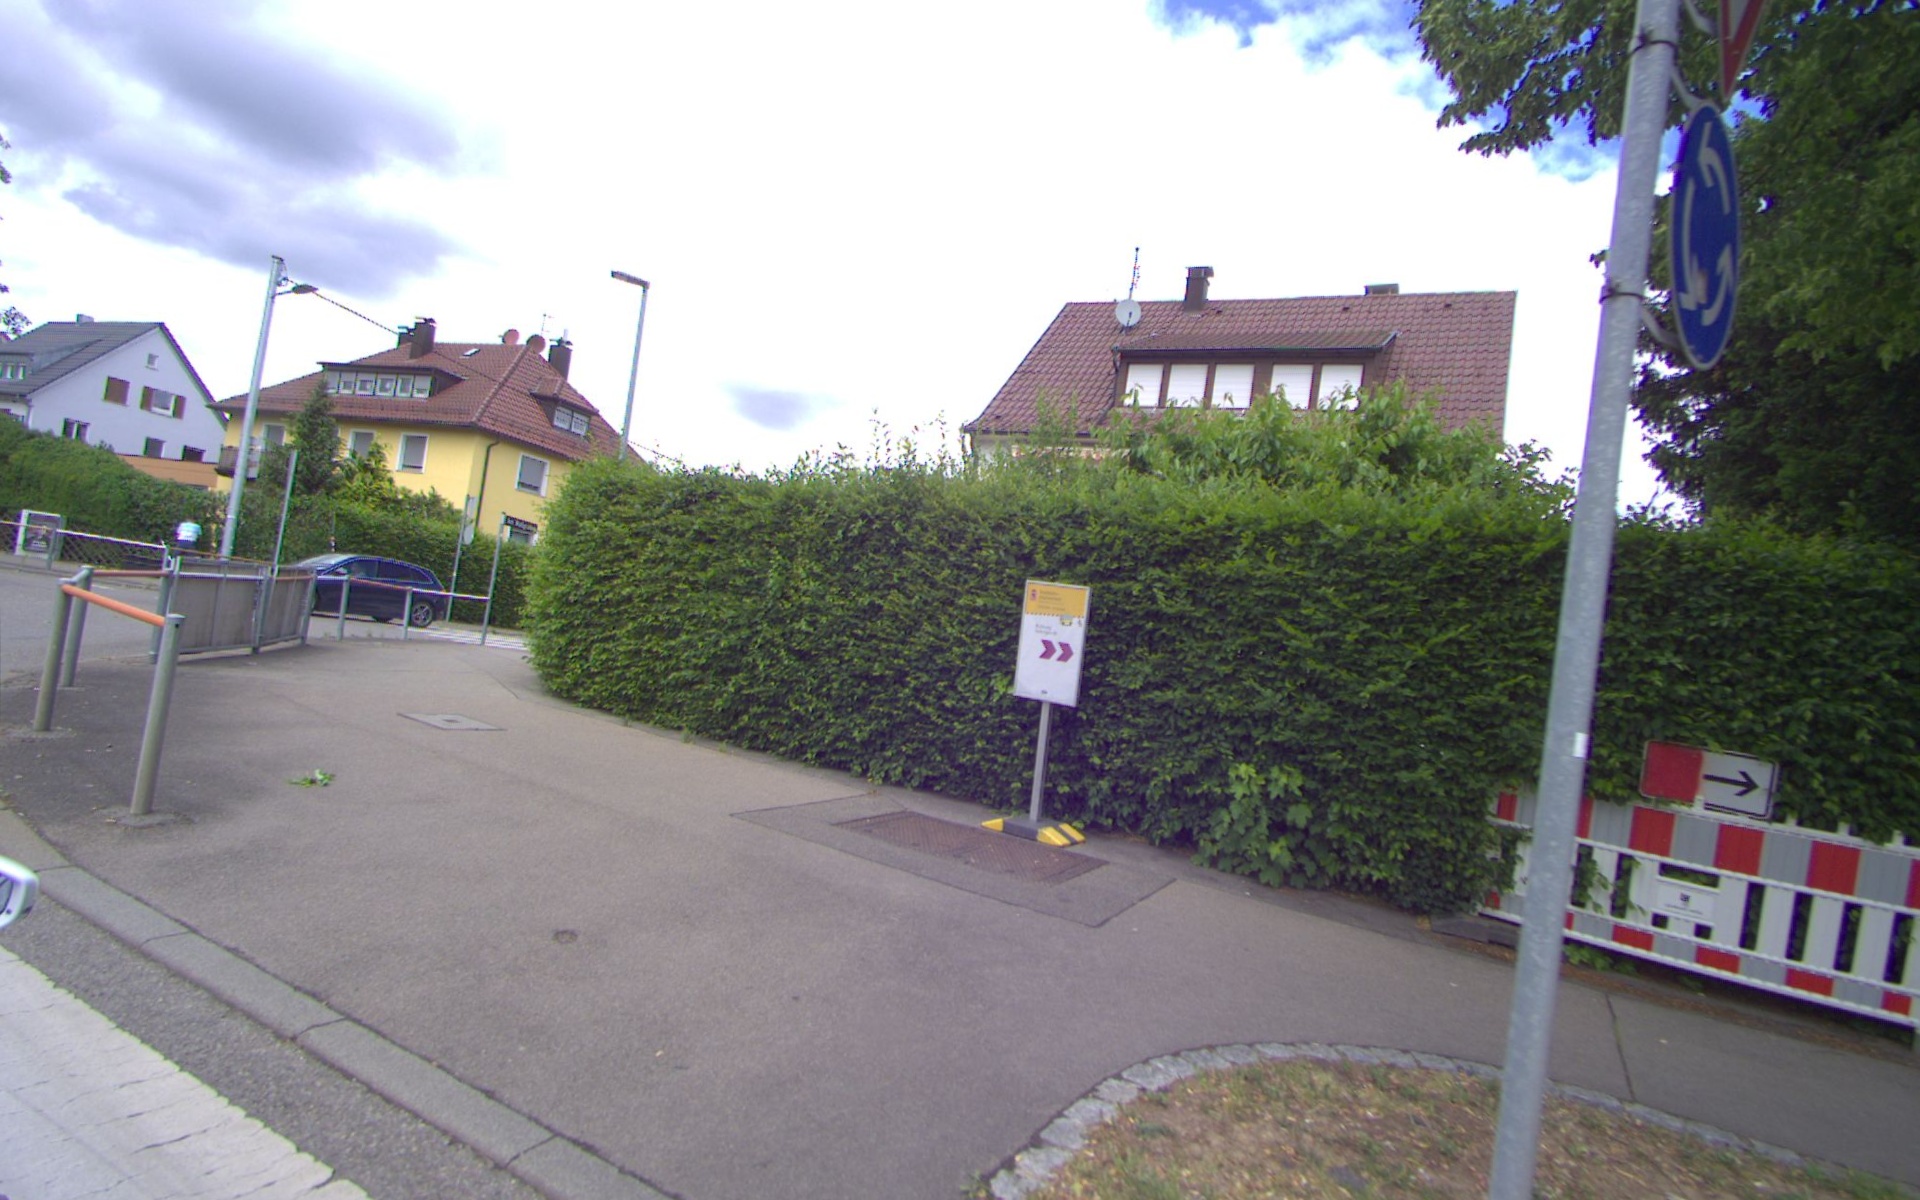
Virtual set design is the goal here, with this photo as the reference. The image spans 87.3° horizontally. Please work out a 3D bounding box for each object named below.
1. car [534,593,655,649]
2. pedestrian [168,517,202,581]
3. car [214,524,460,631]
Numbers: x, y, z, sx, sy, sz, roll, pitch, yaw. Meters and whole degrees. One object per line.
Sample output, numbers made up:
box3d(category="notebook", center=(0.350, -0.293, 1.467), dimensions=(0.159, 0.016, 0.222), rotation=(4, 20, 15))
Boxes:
box3d(category="car", center=(-12.220, 0.738, 33.850), dimensions=(1.571, 1.397, 3.642), rotation=(7, -3, 25))
box3d(category="pedestrian", center=(-19.646, -1.288, 25.505), dimensions=(0.488, 1.551, 0.480), rotation=(9, -1, -37))
box3d(category="car", center=(-14.206, -0.435, 23.235), dimensions=(1.622, 1.679, 4.411), rotation=(7, -4, 31))
